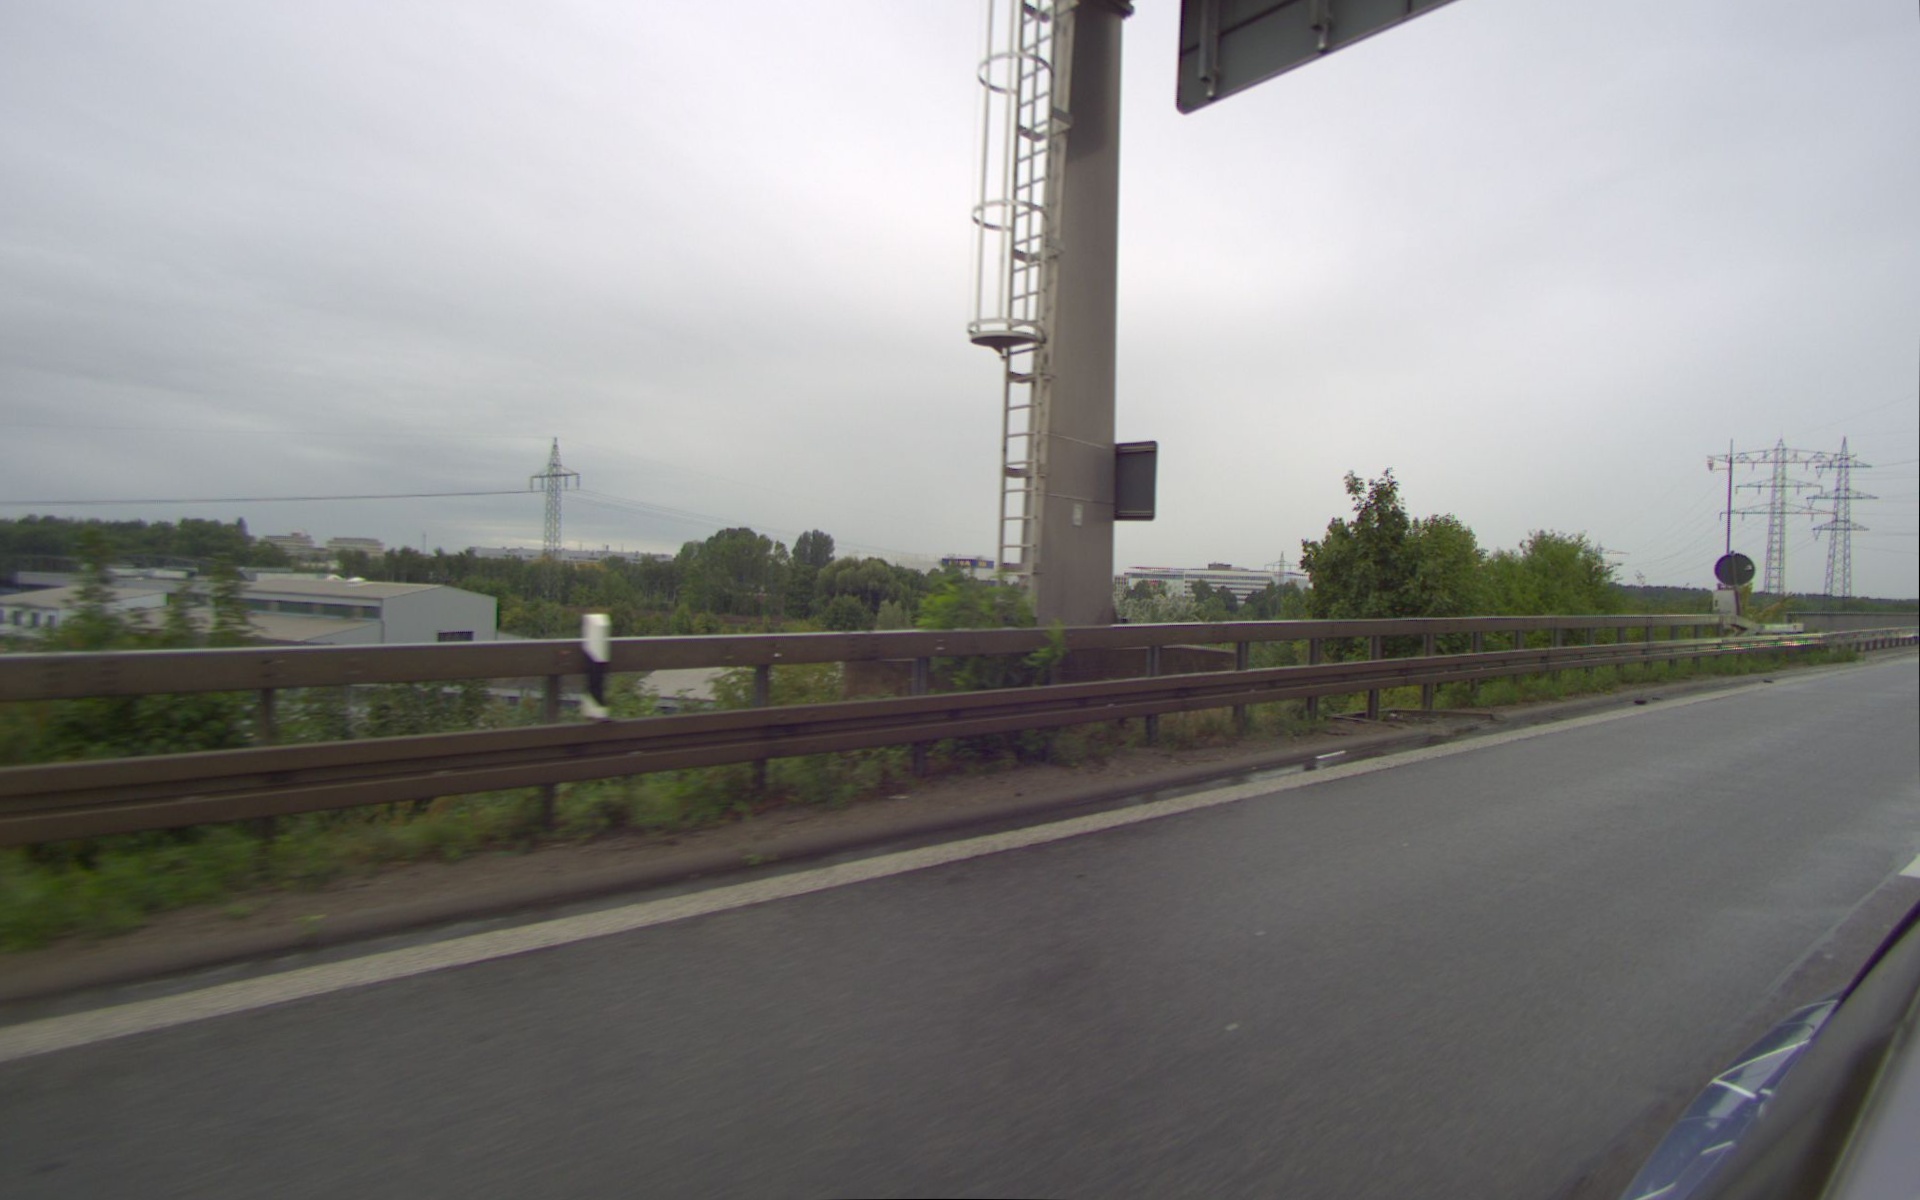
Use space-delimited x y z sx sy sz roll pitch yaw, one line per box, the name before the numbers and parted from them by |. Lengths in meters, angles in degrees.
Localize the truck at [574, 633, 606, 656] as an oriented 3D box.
truck | -56.885 6.863 155.664 2.067 3.224 6.581 0 0 4
